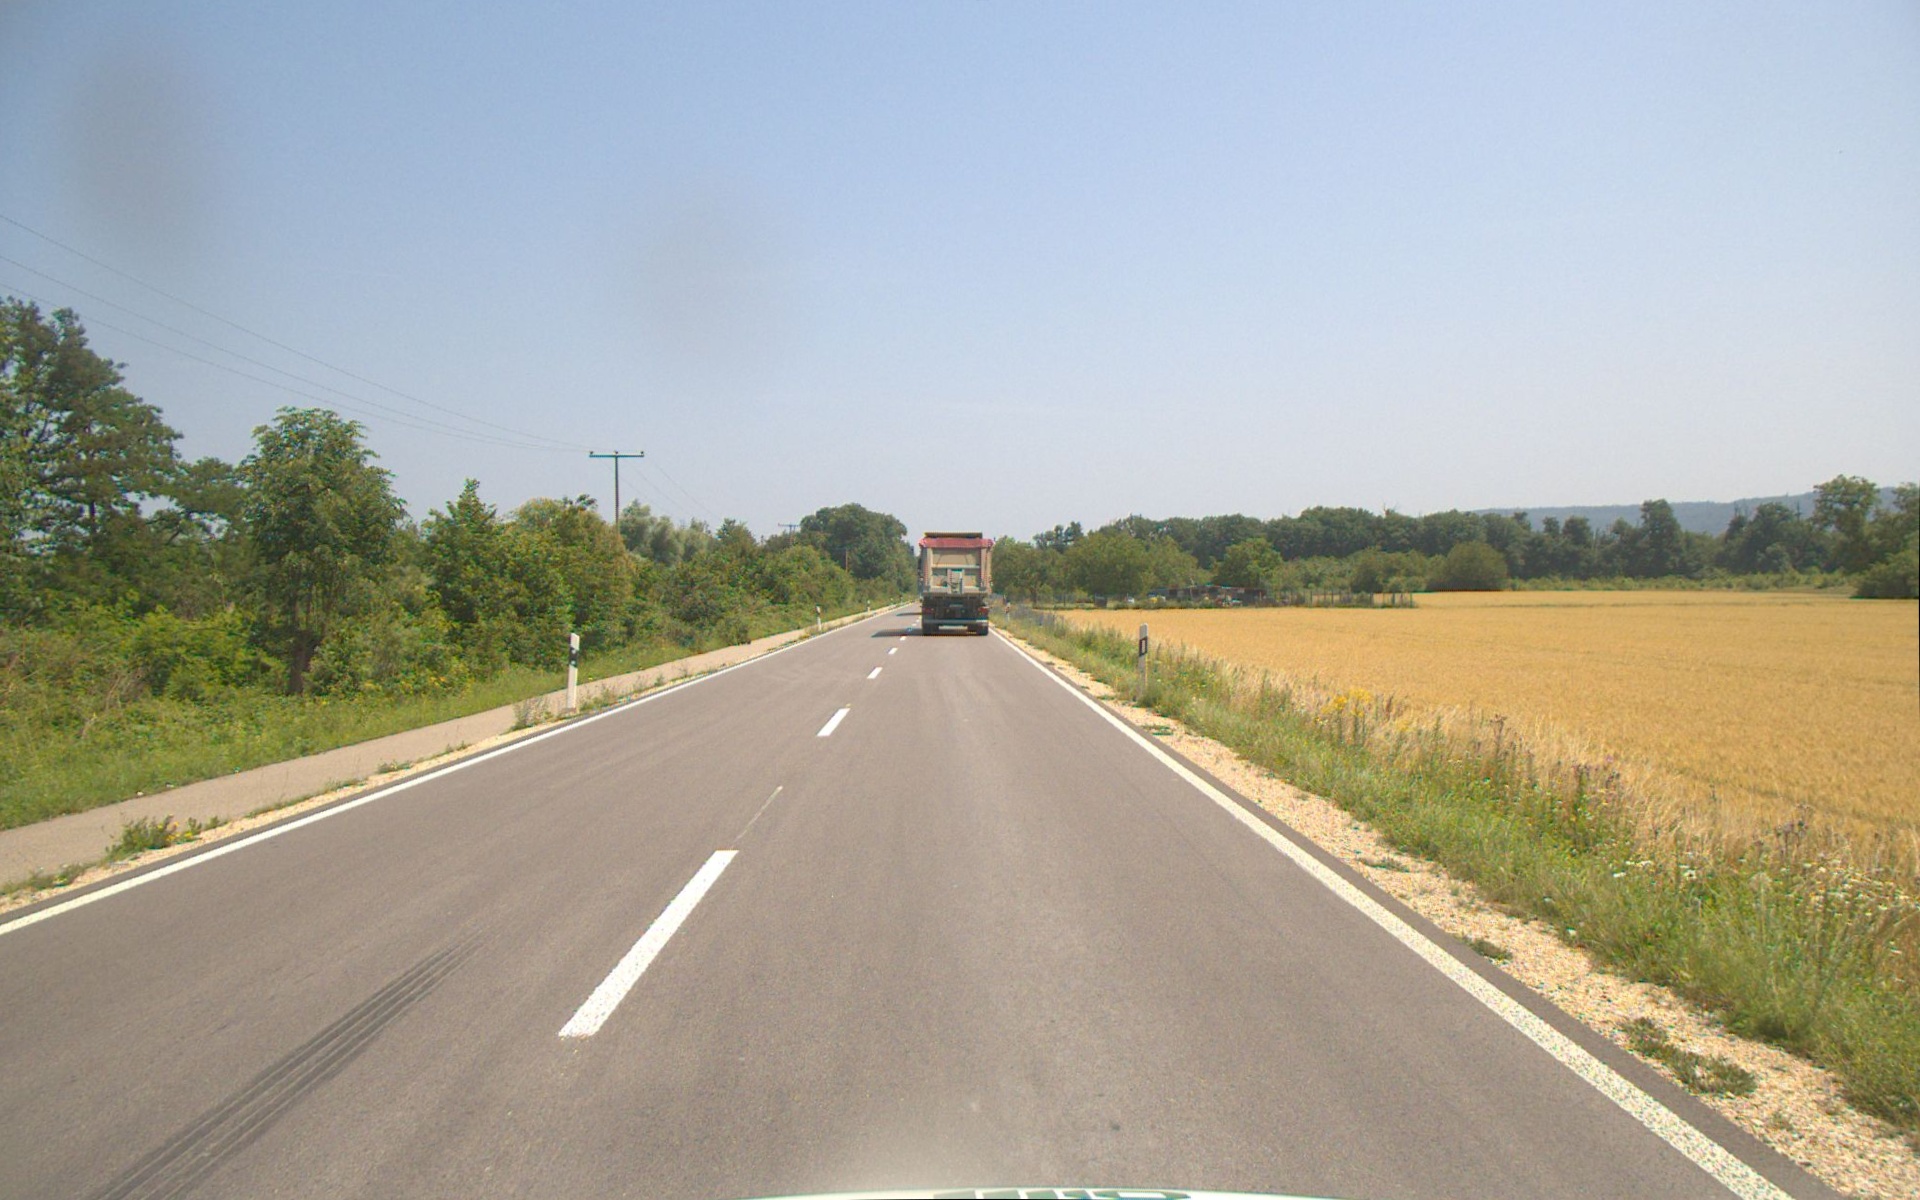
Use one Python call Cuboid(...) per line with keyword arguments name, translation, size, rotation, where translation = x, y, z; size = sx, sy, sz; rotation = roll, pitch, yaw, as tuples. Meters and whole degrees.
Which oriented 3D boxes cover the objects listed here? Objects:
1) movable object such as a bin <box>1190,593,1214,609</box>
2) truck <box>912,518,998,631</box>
Cuboid(name="movable object such as a bin", translation=(24.523, 0.102, 167.688), size=(1.540, 1.522, 3.655), rotation=(0, 0, -5))
Cuboid(name="truck", translation=(-0.244, -0.885, 64.334), size=(2.948, 3.942, 12.206), rotation=(1, 0, -1))
